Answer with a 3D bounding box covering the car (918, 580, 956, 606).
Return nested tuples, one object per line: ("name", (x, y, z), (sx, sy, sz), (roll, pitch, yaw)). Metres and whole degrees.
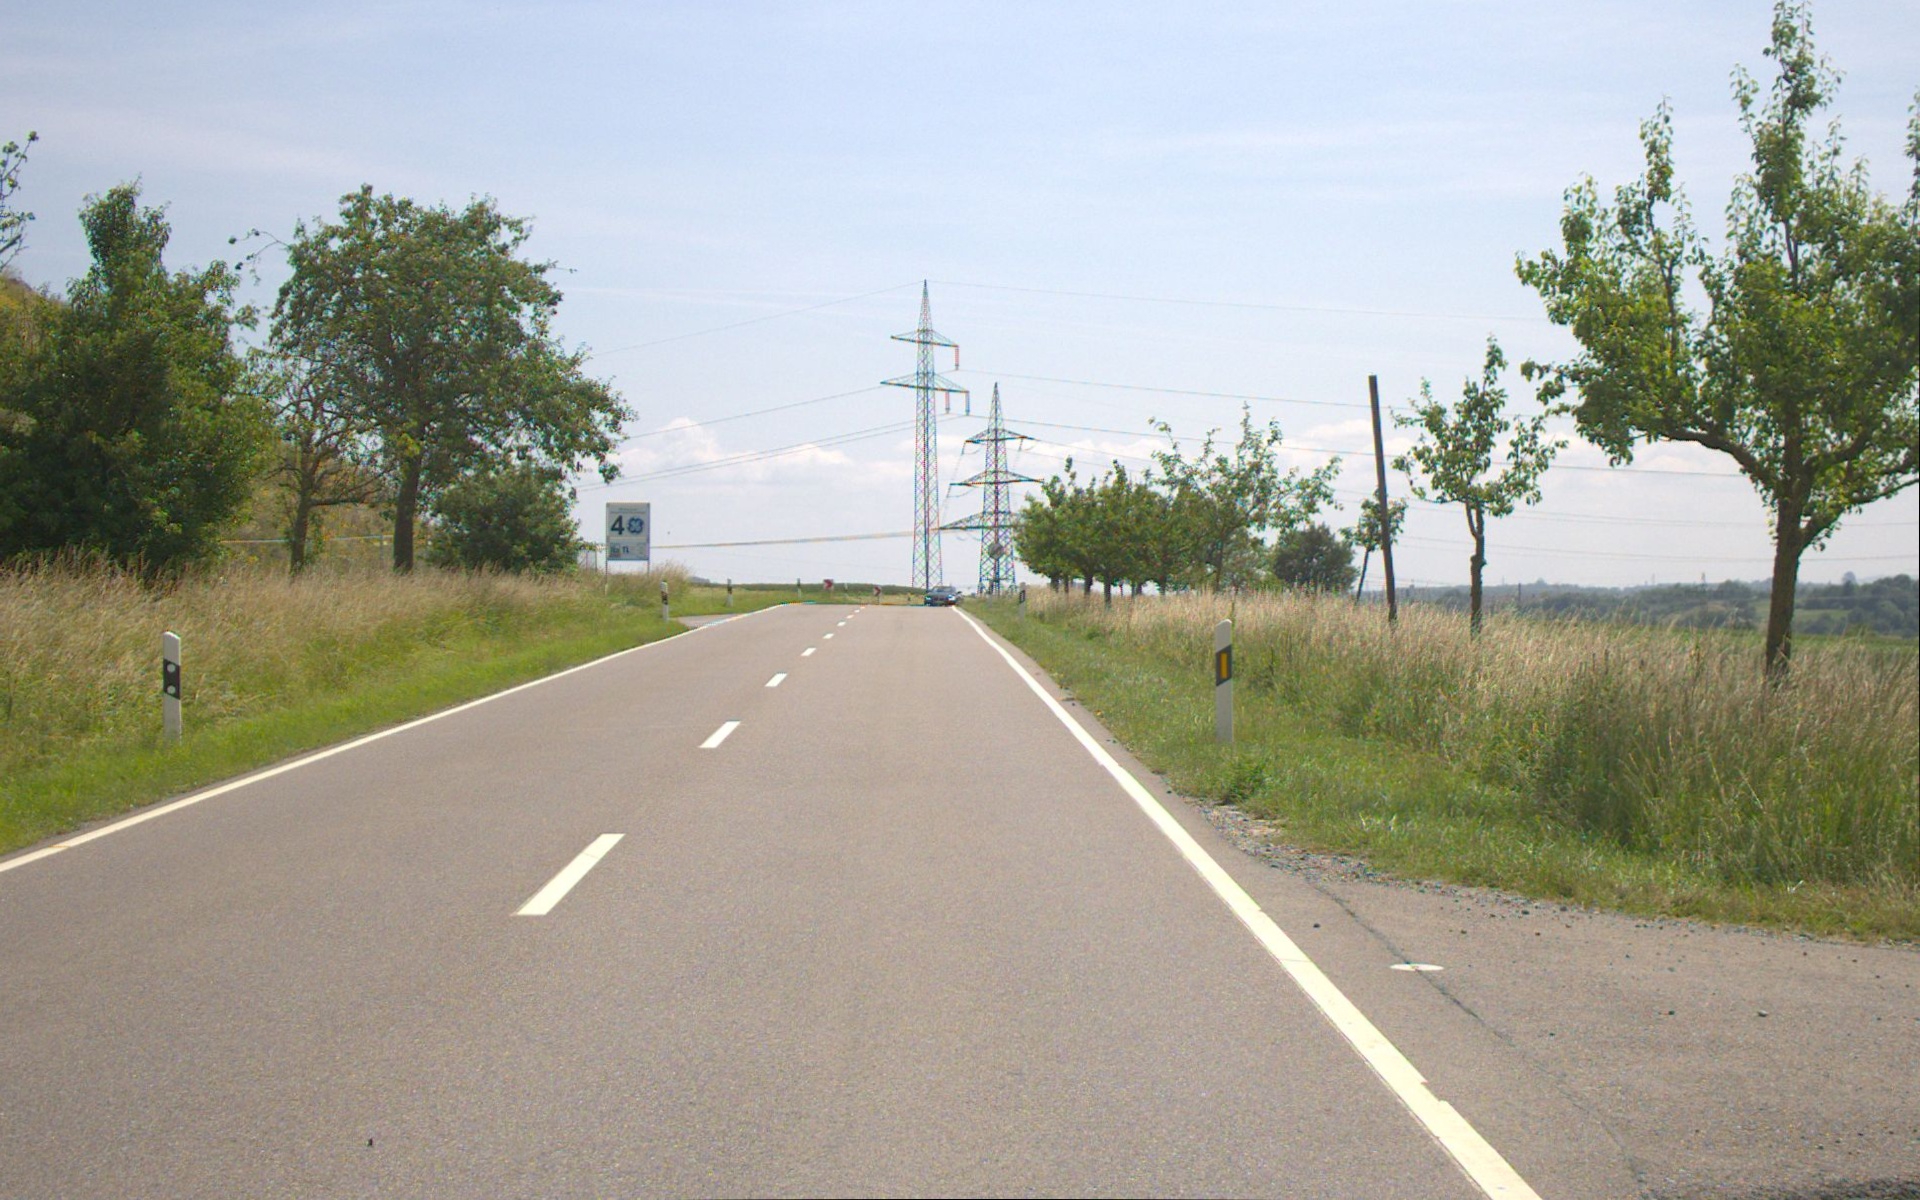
("car", (-1.269, -0.418, 192.400), (1.823, 1.406, 3.999), (1, 1, 4))
